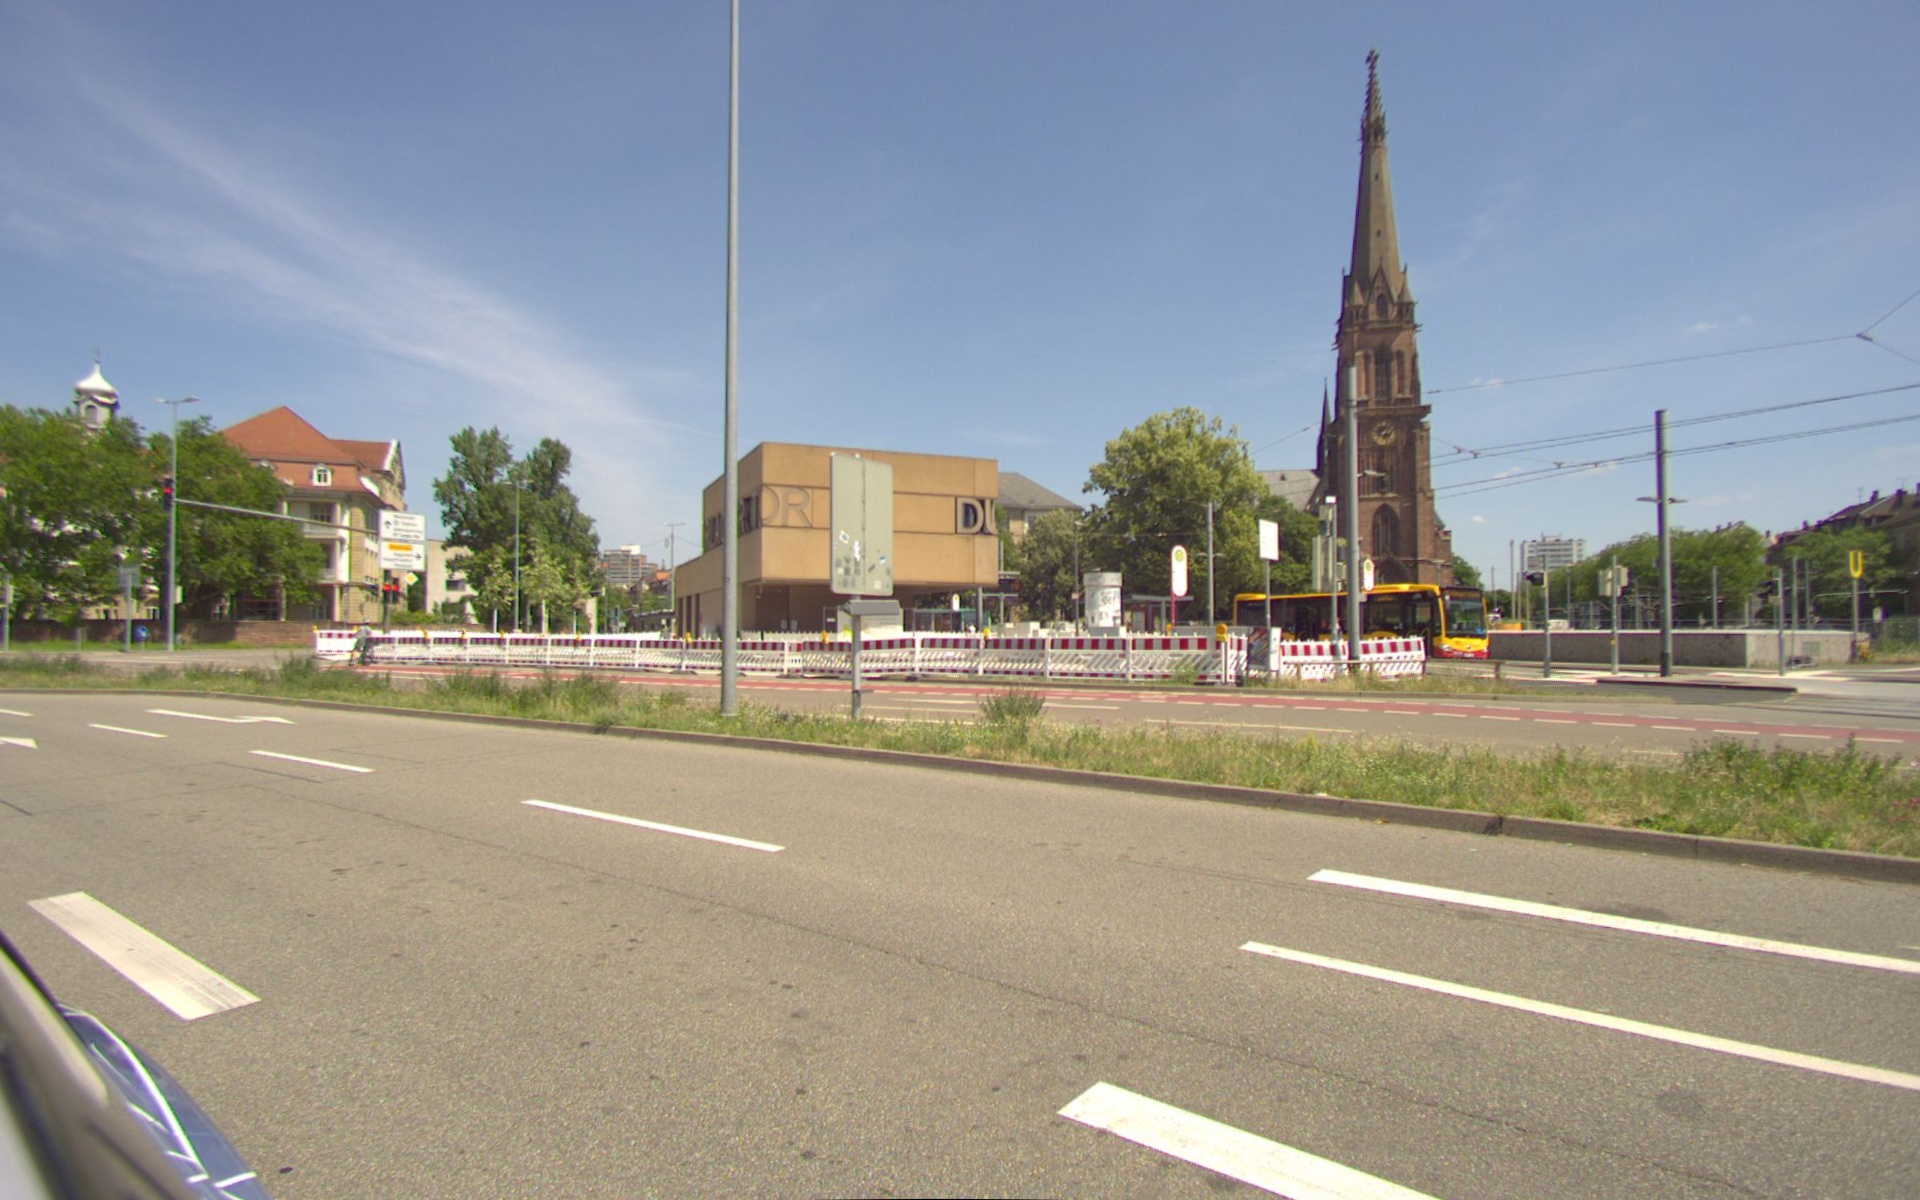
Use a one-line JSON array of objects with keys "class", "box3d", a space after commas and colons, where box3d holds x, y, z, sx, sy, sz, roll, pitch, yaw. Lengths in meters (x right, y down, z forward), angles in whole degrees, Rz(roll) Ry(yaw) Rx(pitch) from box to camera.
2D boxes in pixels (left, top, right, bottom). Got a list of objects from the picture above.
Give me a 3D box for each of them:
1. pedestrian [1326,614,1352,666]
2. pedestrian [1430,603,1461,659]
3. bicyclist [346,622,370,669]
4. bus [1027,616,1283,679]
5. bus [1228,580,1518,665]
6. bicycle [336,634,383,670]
[{"class": "pedestrian", "box3d": [15.017, 1.594, 40.136, 0.601, 2.011, 0.665, -2, -3, -9]}, {"class": "pedestrian", "box3d": [17.719, 1.139, 36.952, 0.601, 2.011, 0.666, -1, -3, -19]}, {"class": "bicyclist", "box3d": [-20.703, 1.561, 34.814, 0.496, 1.591, 0.526, -1, -2, 29]}, {"class": "bus", "box3d": [4.396, 1.133, 23.534, 5.804, 1.259, 1.233, -4, -3, 34]}, {"class": "bus", "box3d": [16.757, 1.002, 42.831, 3.674, 3.065, 12.293, 1, -2, -23]}, {"class": "bicycle", "box3d": [-20.644, 1.766, 34.790, 1.890, 1.189, 0.519, 0, -2, 30]}]
